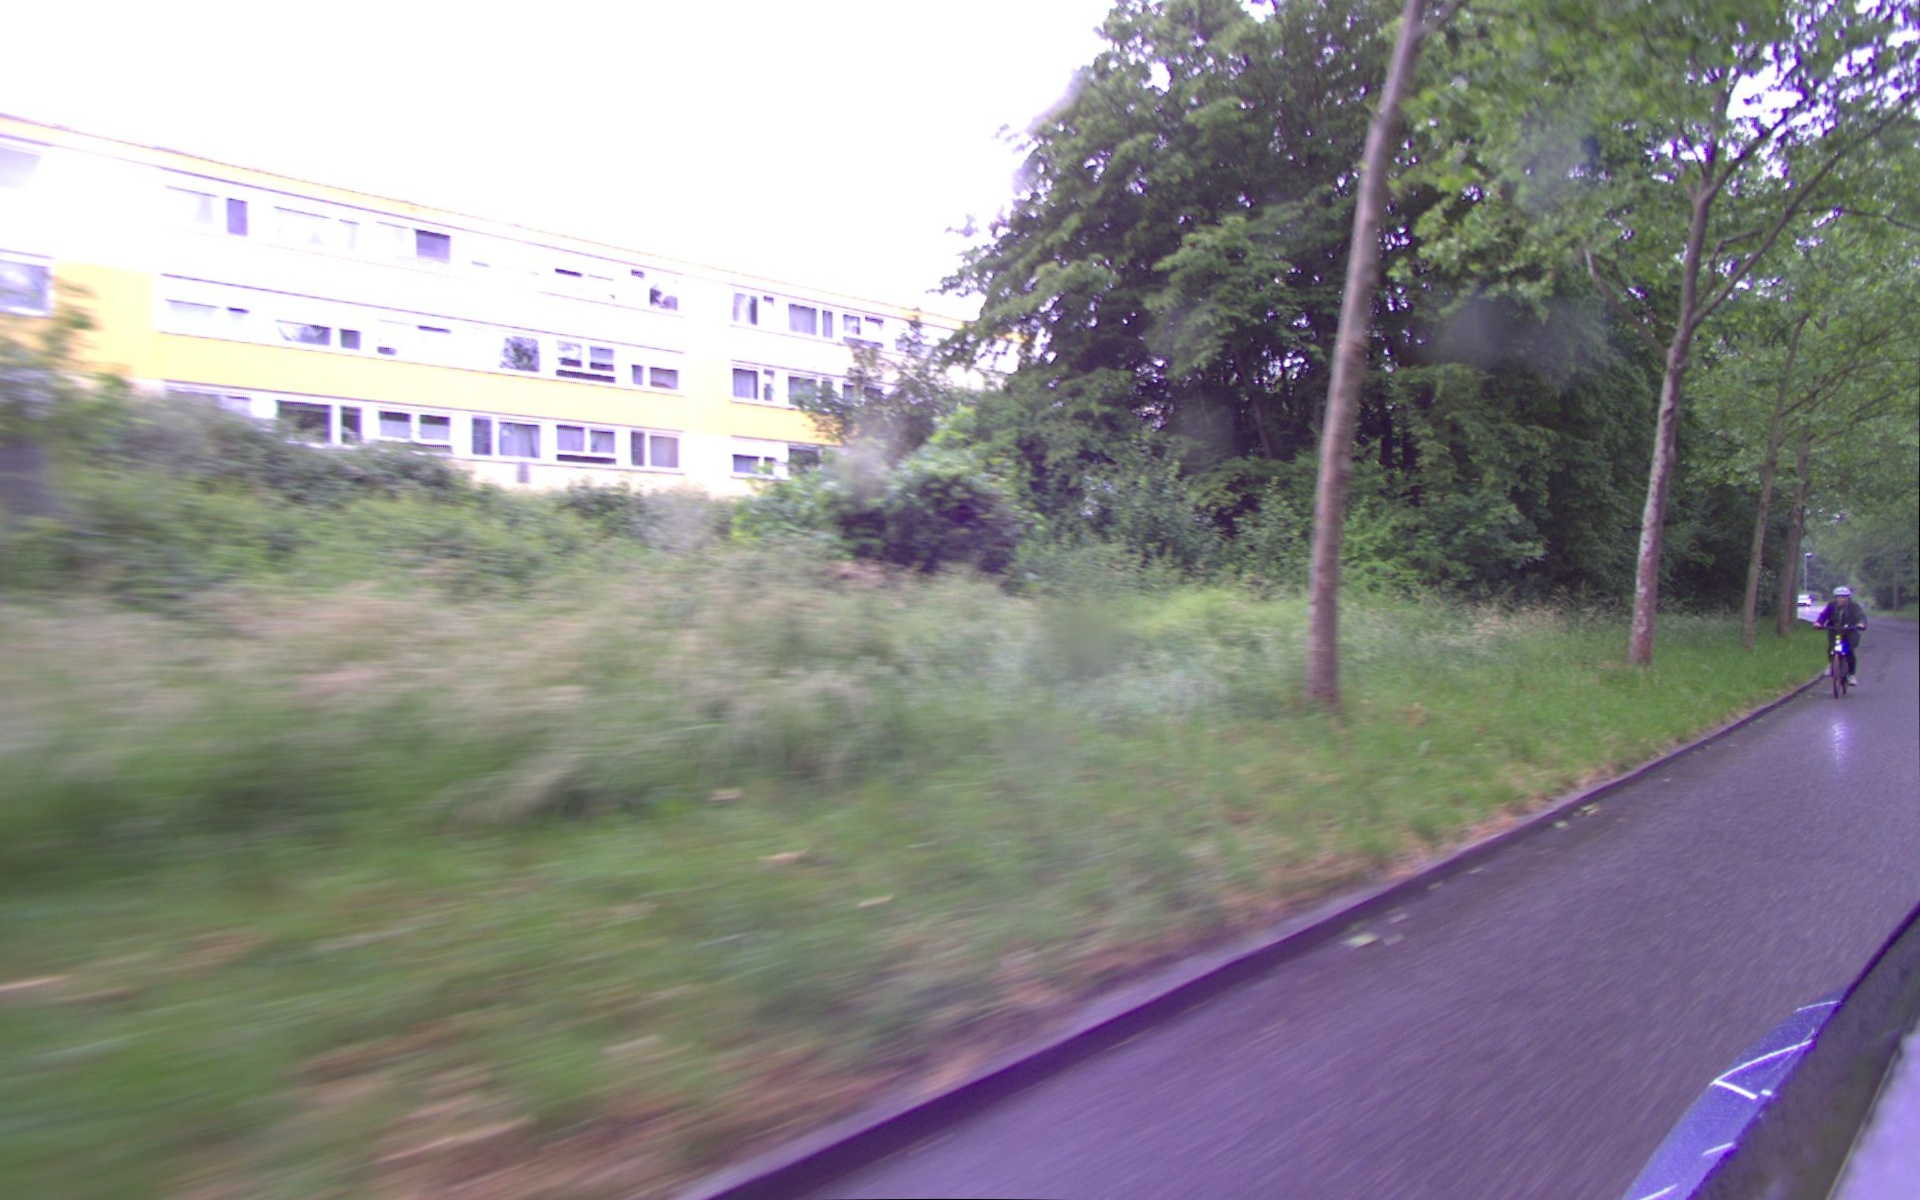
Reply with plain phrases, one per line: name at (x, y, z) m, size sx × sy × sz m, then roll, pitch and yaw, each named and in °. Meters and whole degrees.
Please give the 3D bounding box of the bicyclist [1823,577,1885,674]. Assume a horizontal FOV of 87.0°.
bicyclist at (14.422, 0.392, 16.321) m, size 0.787 × 1.516 × 0.696 m, roll -1°, pitch 0°, yaw -44°

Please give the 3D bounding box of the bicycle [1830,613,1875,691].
bicycle at (14.405, 0.808, 16.322) m, size 0.452 × 1.148 × 1.804 m, roll -1°, pitch 0°, yaw 44°
